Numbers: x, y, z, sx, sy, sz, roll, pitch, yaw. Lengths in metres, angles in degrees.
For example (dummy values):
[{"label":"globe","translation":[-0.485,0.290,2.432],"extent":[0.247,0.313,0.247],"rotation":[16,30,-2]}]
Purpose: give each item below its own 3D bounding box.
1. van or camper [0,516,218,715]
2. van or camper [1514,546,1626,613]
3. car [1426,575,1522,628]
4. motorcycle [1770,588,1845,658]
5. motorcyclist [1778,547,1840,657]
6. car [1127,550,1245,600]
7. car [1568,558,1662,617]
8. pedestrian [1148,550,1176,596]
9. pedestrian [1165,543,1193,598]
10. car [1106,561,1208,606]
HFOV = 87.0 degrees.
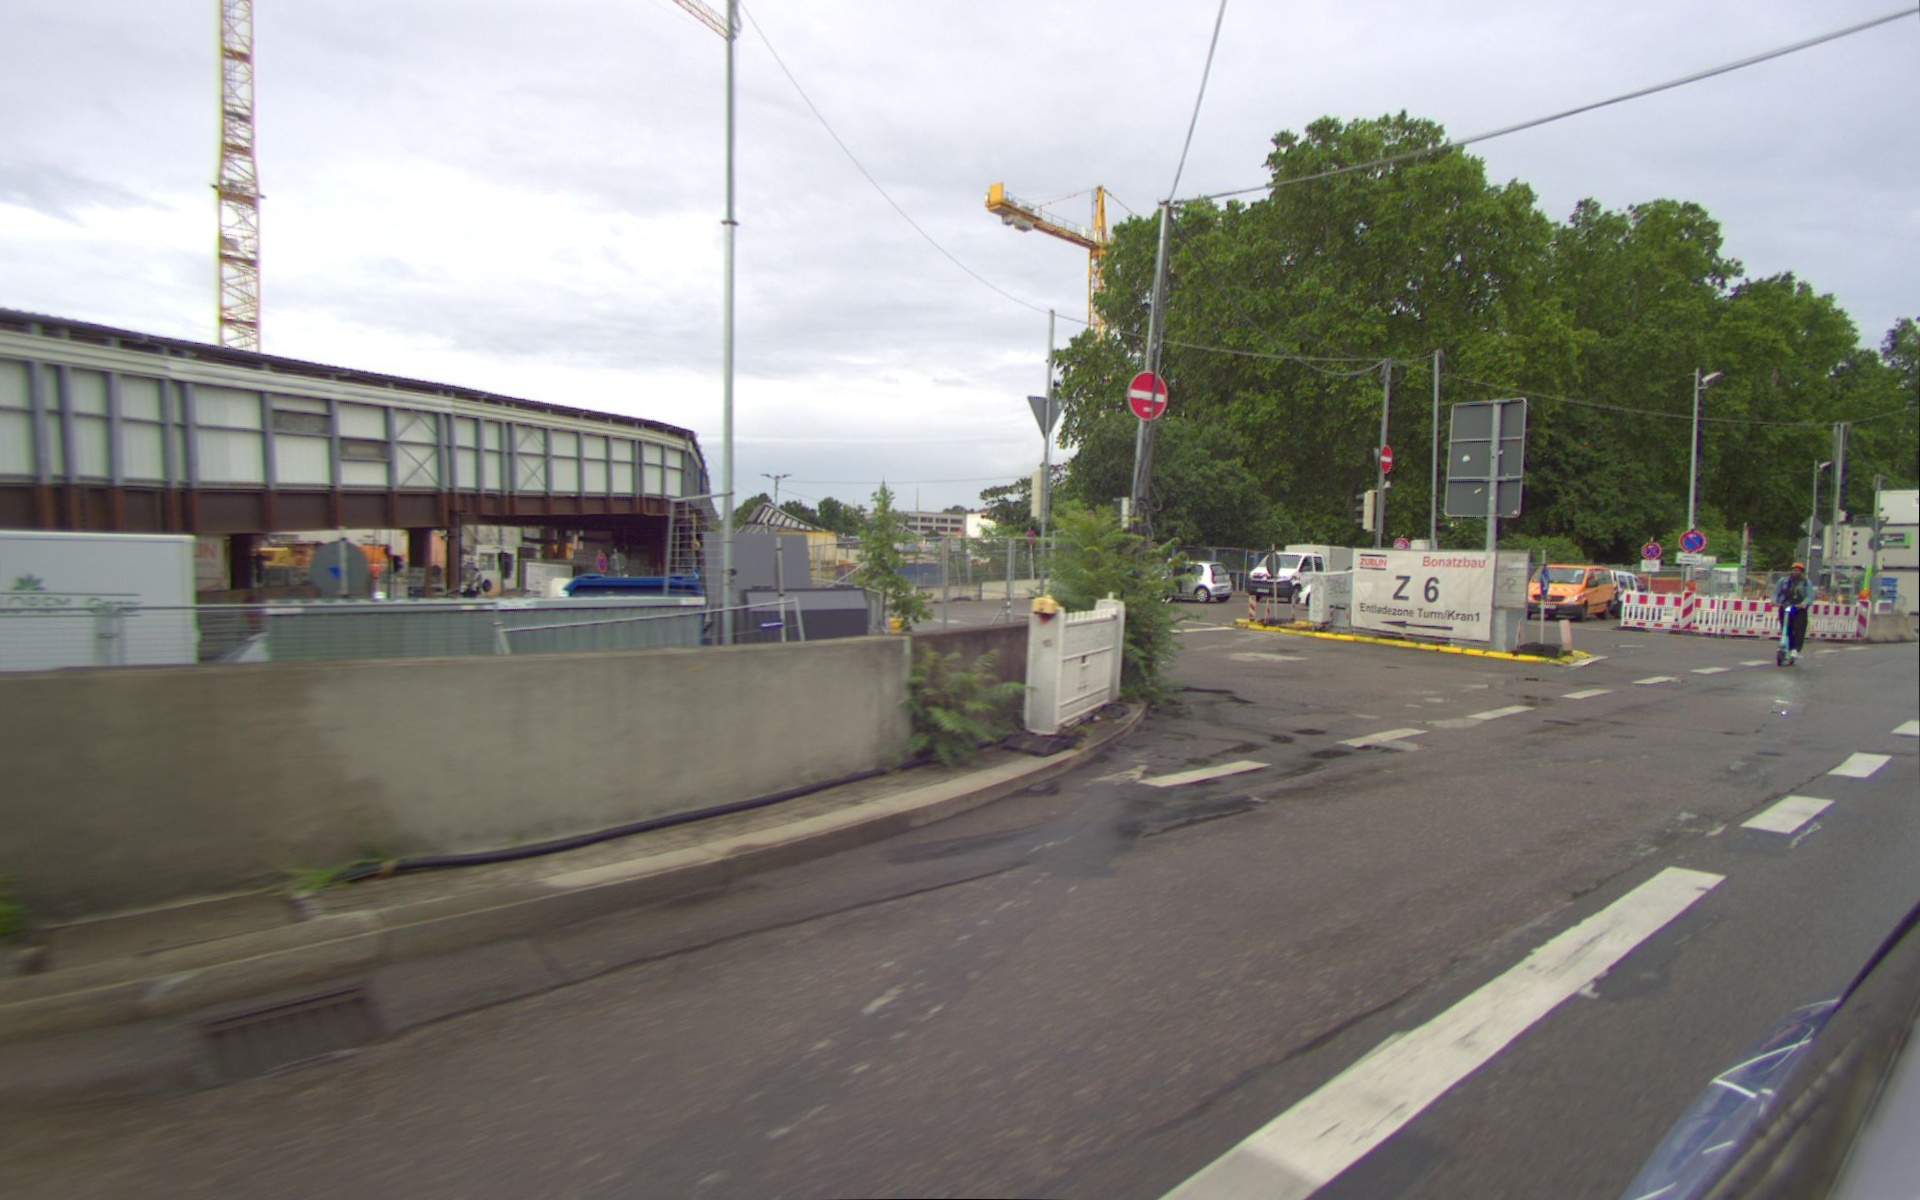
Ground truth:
[{"label":"van or camper","translation":[-12.854,0.125,12.494],"extent":[2.347,2.431,6.049],"rotation":[3,2,9]},{"label":"van or camper","translation":[20.902,-0.666,34.578],"extent":[2.119,2.053,4.932],"rotation":[4,2,44]},{"label":"car","translation":[18.189,0.053,35.750],"extent":[1.993,1.657,4.126],"rotation":[4,2,42]},{"label":"motorcycle","translation":[16.321,0.441,19.466],"extent":[2.123,1.244,0.729],"rotation":[1,2,-41]},{"label":"motorcyclist","translation":[16.283,0.031,19.412],"extent":[0.577,2.061,0.726],"rotation":[2,2,-40]},{"label":"car","translation":[8.295,-0.931,37.253],"extent":[3.717,1.657,1.969],"rotation":[4,2,43]},{"label":"car","translation":[24.947,-0.457,38.516],"extent":[4.119,2.092,1.996],"rotation":[1,2,-43]},{"label":"pedestrian","translation":[7.276,-0.977,36.473],"extent":[0.650,1.594,0.652],"rotation":[4,2,42]},{"label":"pedestrian","translation":[7.774,-1.056,35.887],"extent":[0.650,1.894,0.652],"rotation":[4,2,42]},{"label":"car","translation":[8.284,-0.711,42.645],"extent":[3.717,1.657,1.969],"rotation":[4,2,43]}]
